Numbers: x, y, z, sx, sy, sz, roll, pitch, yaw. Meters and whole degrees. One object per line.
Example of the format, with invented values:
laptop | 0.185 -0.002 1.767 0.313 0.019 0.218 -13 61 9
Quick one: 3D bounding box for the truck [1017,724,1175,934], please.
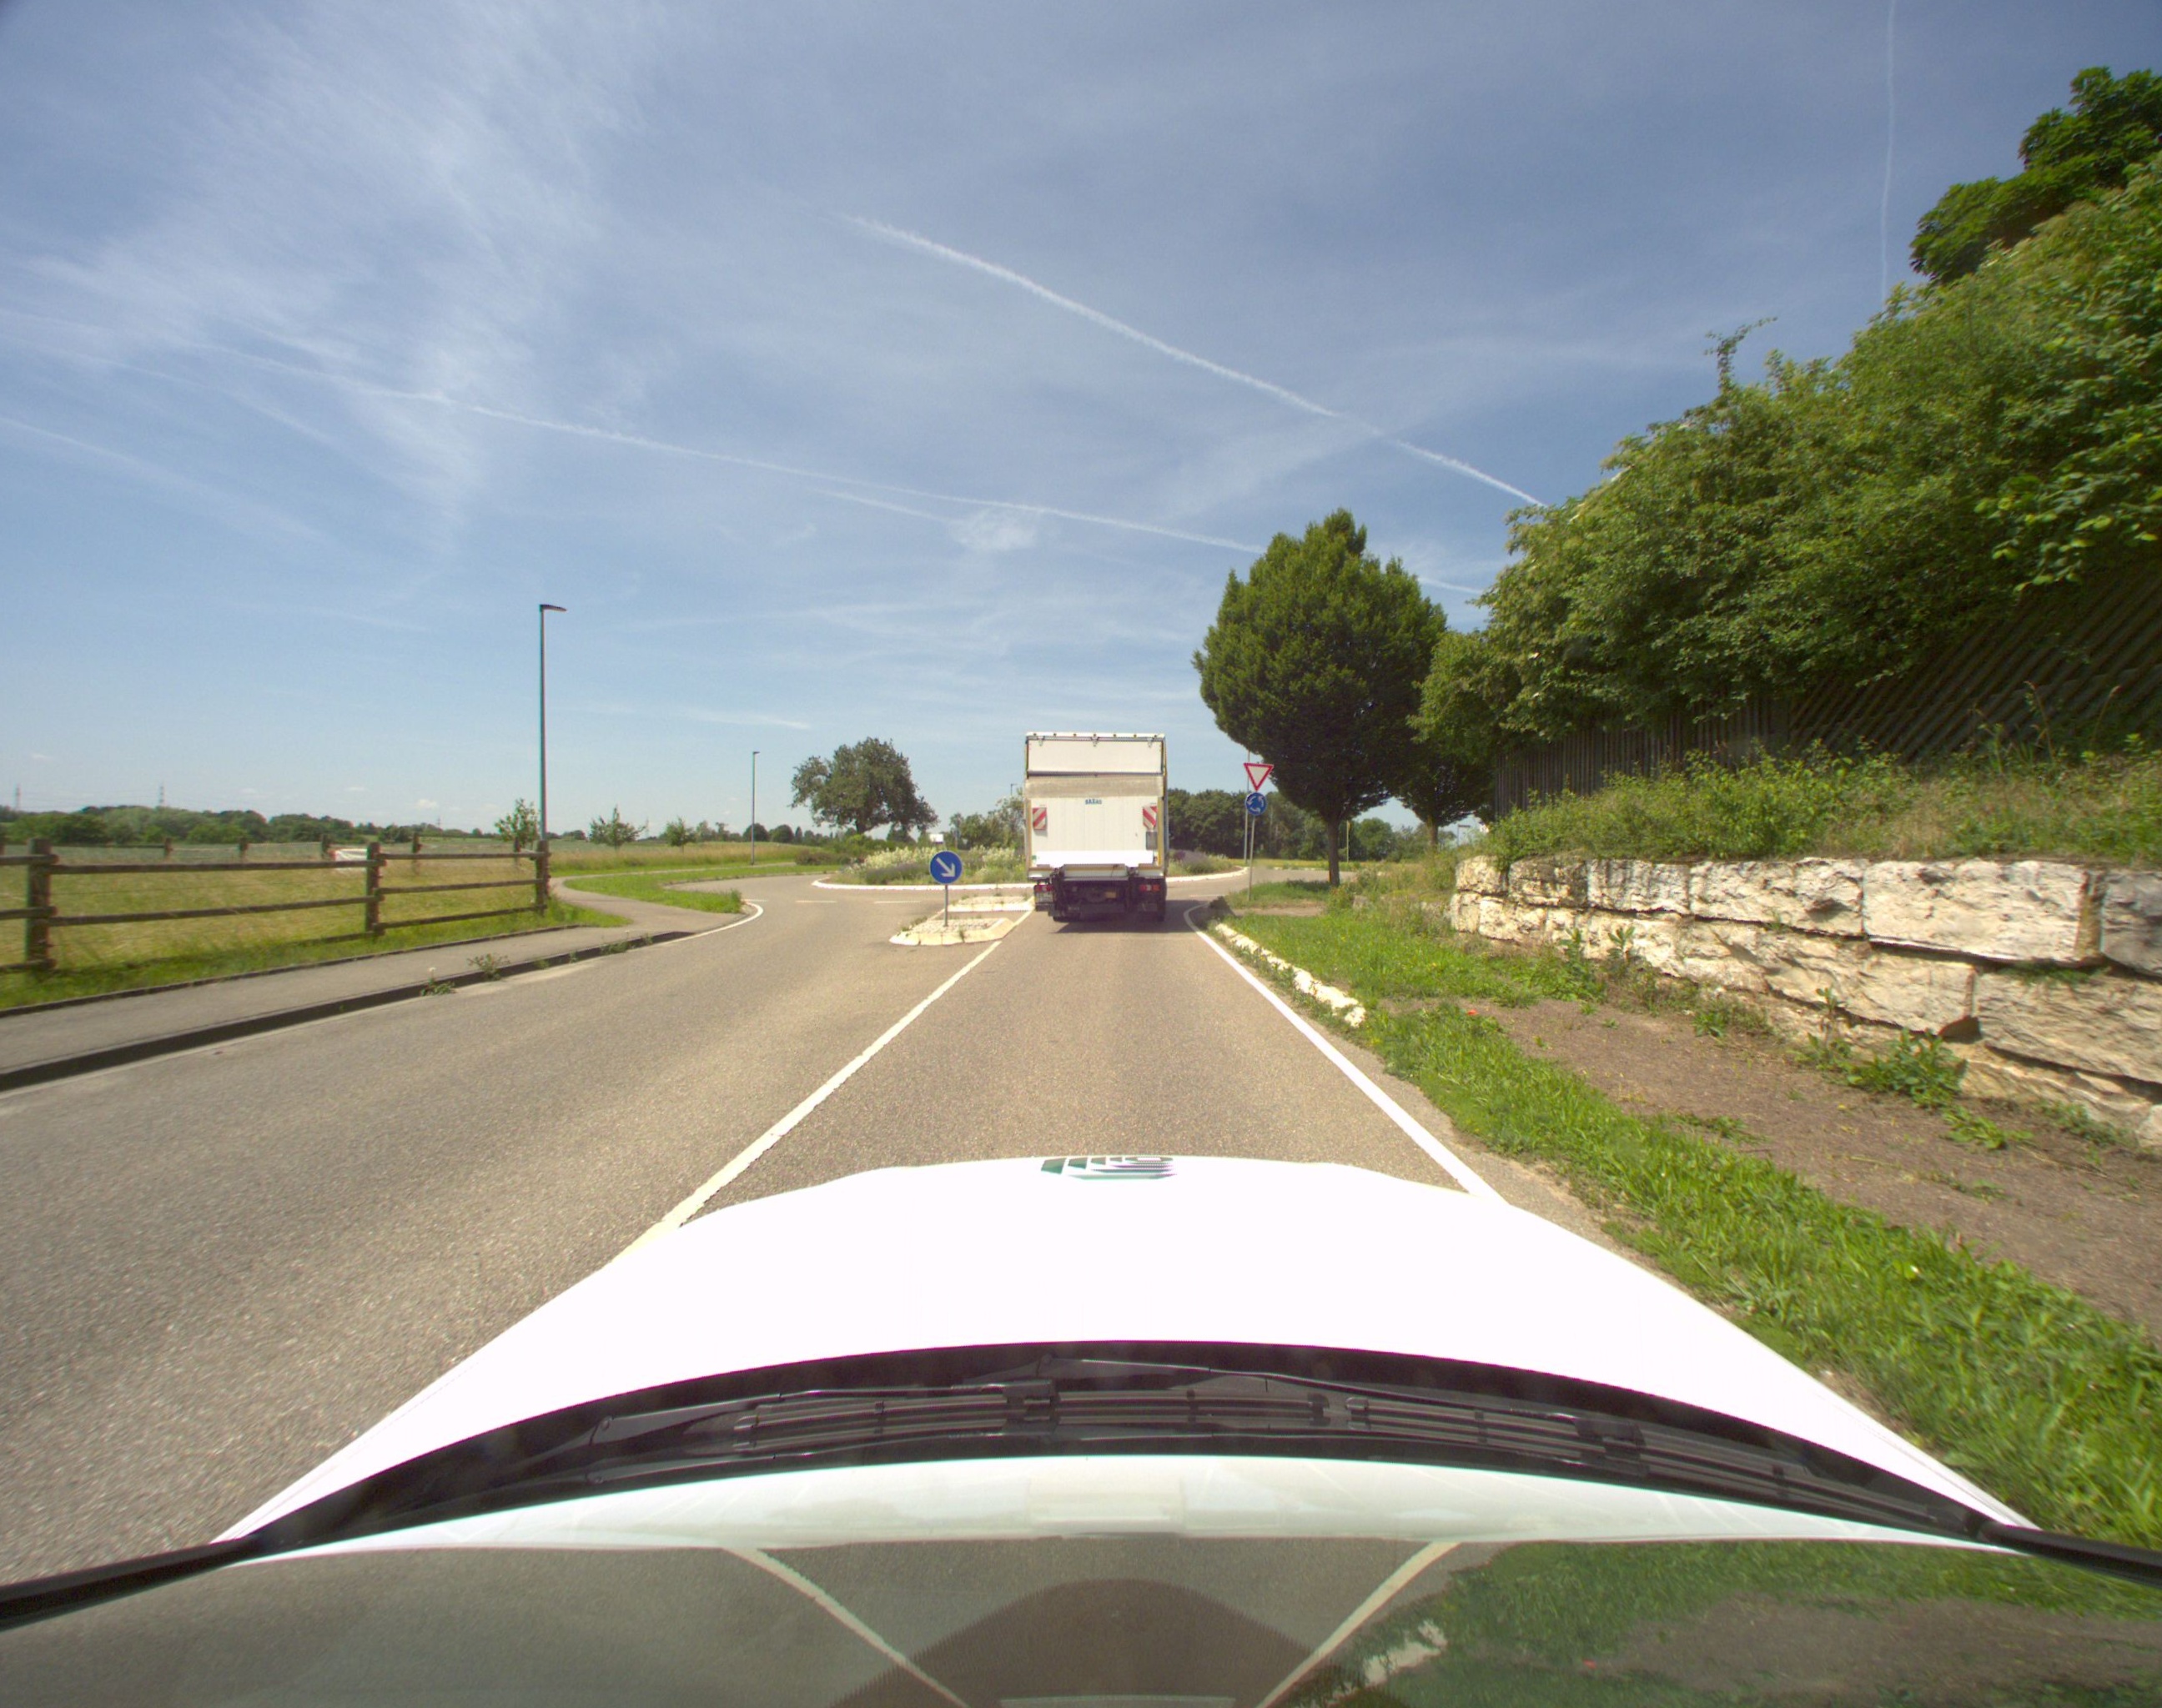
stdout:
truck | 0.719 -0.488 19.095 2.753 3.670 9.398 -1 1 6
